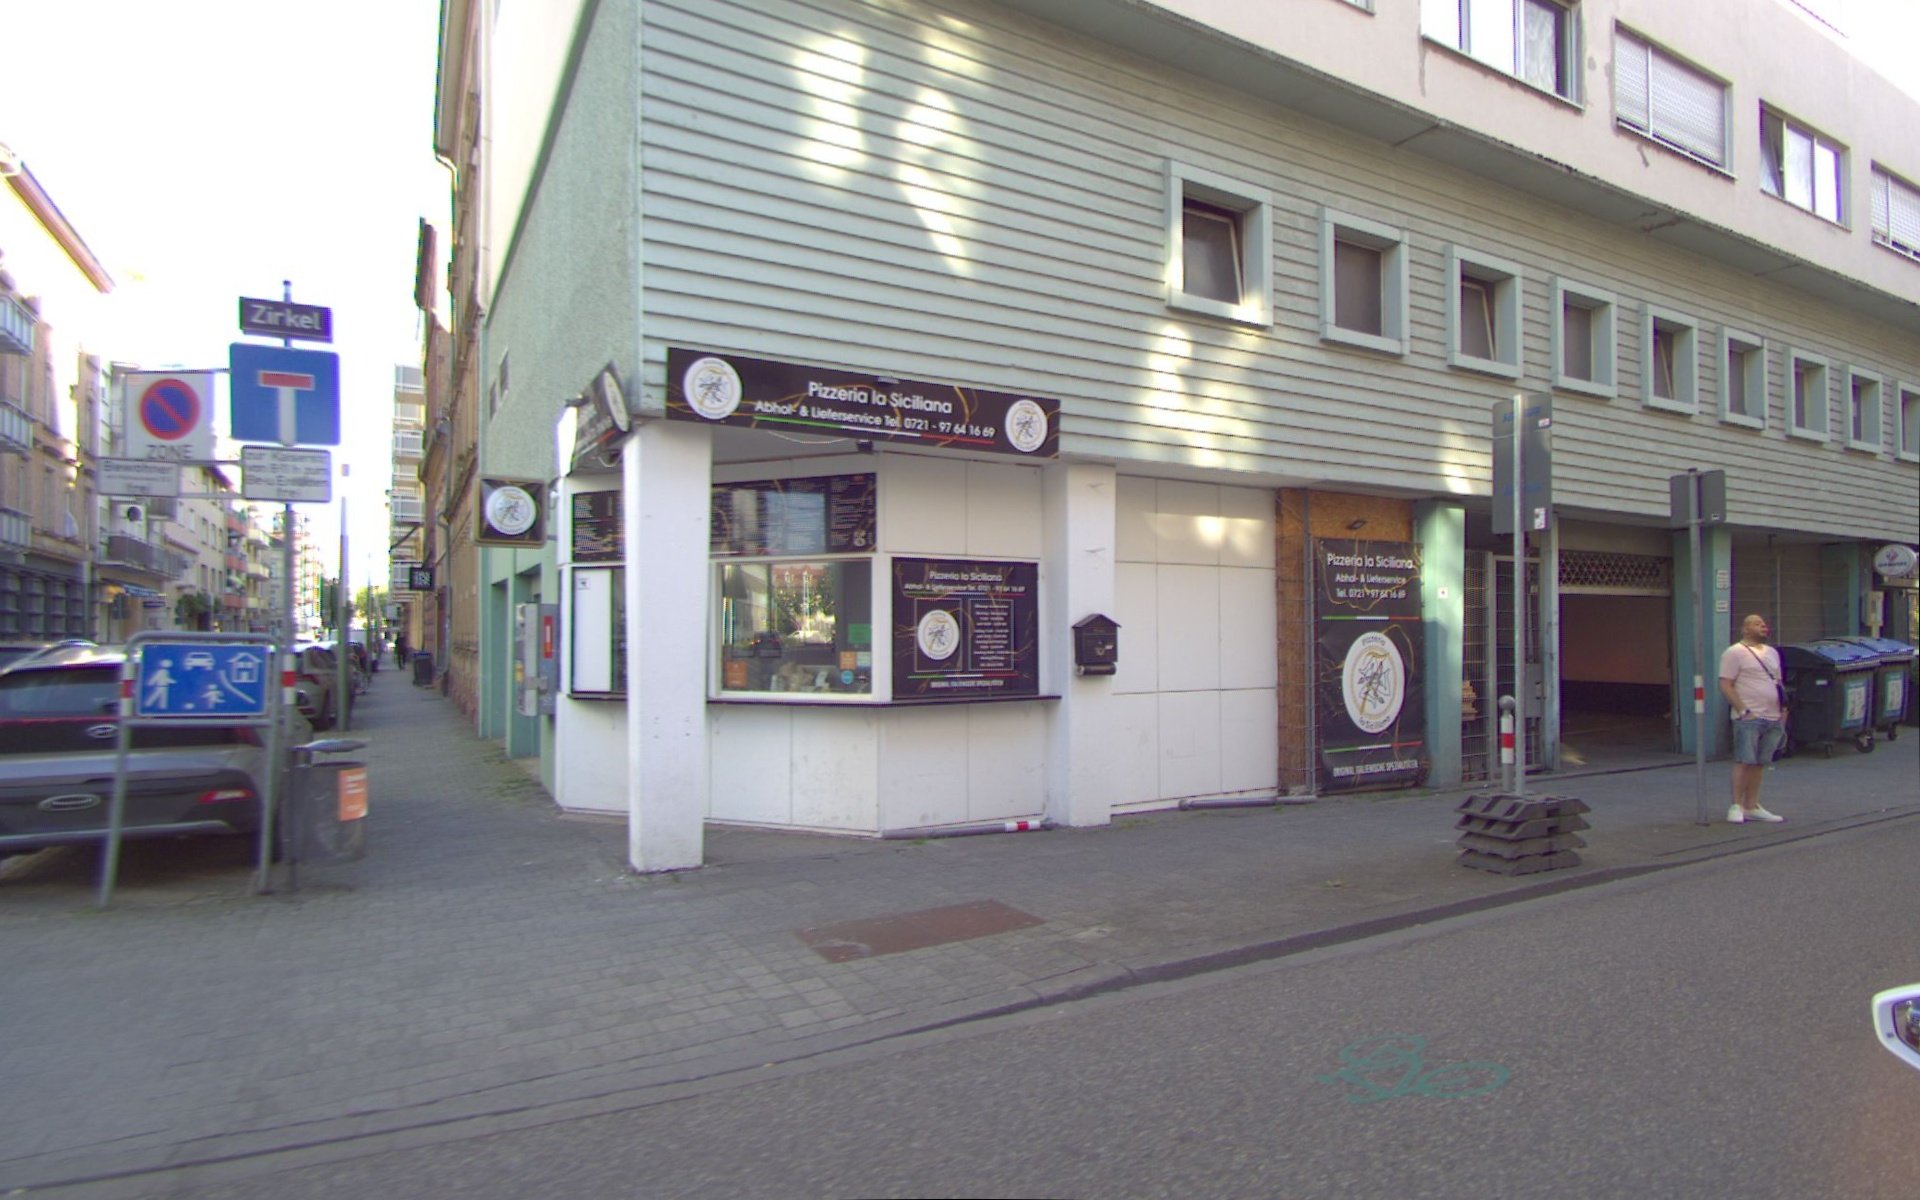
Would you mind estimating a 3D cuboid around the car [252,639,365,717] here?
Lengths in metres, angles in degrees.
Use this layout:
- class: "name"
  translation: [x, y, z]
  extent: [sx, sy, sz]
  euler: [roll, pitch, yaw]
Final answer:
- class: "car"
  translation: [-14.672, 1.693, 22.799]
  extent: [1.764, 1.501, 3.886]
  euler: [-1, -1, -28]

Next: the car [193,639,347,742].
- class: "car"
  translation: [-12.086, 1.501, 17.844]
  extent: [1.764, 1.501, 3.886]
  euler: [-1, -1, -28]

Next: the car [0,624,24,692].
- class: "car"
  translation: [-20.393, 1.198, 20.308]
  extent: [1.469, 1.408, 3.377]
  euler: [-1, -1, -31]

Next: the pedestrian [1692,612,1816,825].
- class: "pedestrian"
  translation: [6.623, 0.962, 8.404]
  extent: [0.615, 1.692, 0.494]
  euler: [2, 1, 14]

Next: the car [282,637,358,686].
- class: "car"
  translation: [-20.997, 1.988, 33.067]
  extent: [1.764, 1.426, 3.461]
  euler: [-1, -1, -28]

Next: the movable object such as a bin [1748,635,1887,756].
- class: "movable object such as a bin"
  translation: [11.535, 1.232, 13.511]
  extent: [1.457, 1.491, 0.964]
  euler: [-1, -1, -30]

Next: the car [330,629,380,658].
- class: "car"
  translation: [-27.492, 1.961, 45.618]
  extent: [1.768, 1.202, 3.055]
  euler: [-1, -1, -34]

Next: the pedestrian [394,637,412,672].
- class: "pedestrian"
  translation: [-26.224, 2.569, 47.312]
  extent: [0.683, 1.602, 0.630]
  euler: [1, 1, -33]

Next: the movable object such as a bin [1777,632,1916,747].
- class: "movable object such as a bin"
  translation: [12.776, 1.237, 14.491]
  extent: [1.326, 1.540, 1.117]
  euler: [0, -1, -29]

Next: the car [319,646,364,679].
- class: "car"
  translation: [-25.508, 2.563, 41.376]
  extent: [1.455, 1.202, 3.055]
  euler: [-1, -1, -34]

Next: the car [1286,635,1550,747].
- class: "car"
  translation: [7.818, 1.436, 17.044]
  extent: [4.545, 1.555, 1.754]
  euler: [-1, 0, -29]

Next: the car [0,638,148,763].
- class: "car"
  translation: [-13.580, 1.380, 14.877]
  extent: [1.766, 1.589, 4.137]
  euler: [1, -2, -30]

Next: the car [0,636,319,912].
- class: "car"
  translation: [-5.992, 1.057, 7.676]
  extent: [1.673, 1.540, 3.913]
  euler: [1, -2, -31]

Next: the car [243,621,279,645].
- class: "car"
  translation: [-46.810, 2.193, 67.323]
  extent: [1.566, 1.527, 3.872]
  euler: [1, -2, -29]

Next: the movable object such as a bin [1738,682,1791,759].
- class: "movable object such as a bin"
  translation: [10.571, 1.573, 13.200]
  extent: [0.461, 0.954, 0.391]
  euler: [1, -1, -29]

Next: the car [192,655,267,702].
- class: "car"
  translation: [-25.099, 2.656, 34.605]
  extent: [1.566, 1.400, 3.872]
  euler: [1, -2, -29]
